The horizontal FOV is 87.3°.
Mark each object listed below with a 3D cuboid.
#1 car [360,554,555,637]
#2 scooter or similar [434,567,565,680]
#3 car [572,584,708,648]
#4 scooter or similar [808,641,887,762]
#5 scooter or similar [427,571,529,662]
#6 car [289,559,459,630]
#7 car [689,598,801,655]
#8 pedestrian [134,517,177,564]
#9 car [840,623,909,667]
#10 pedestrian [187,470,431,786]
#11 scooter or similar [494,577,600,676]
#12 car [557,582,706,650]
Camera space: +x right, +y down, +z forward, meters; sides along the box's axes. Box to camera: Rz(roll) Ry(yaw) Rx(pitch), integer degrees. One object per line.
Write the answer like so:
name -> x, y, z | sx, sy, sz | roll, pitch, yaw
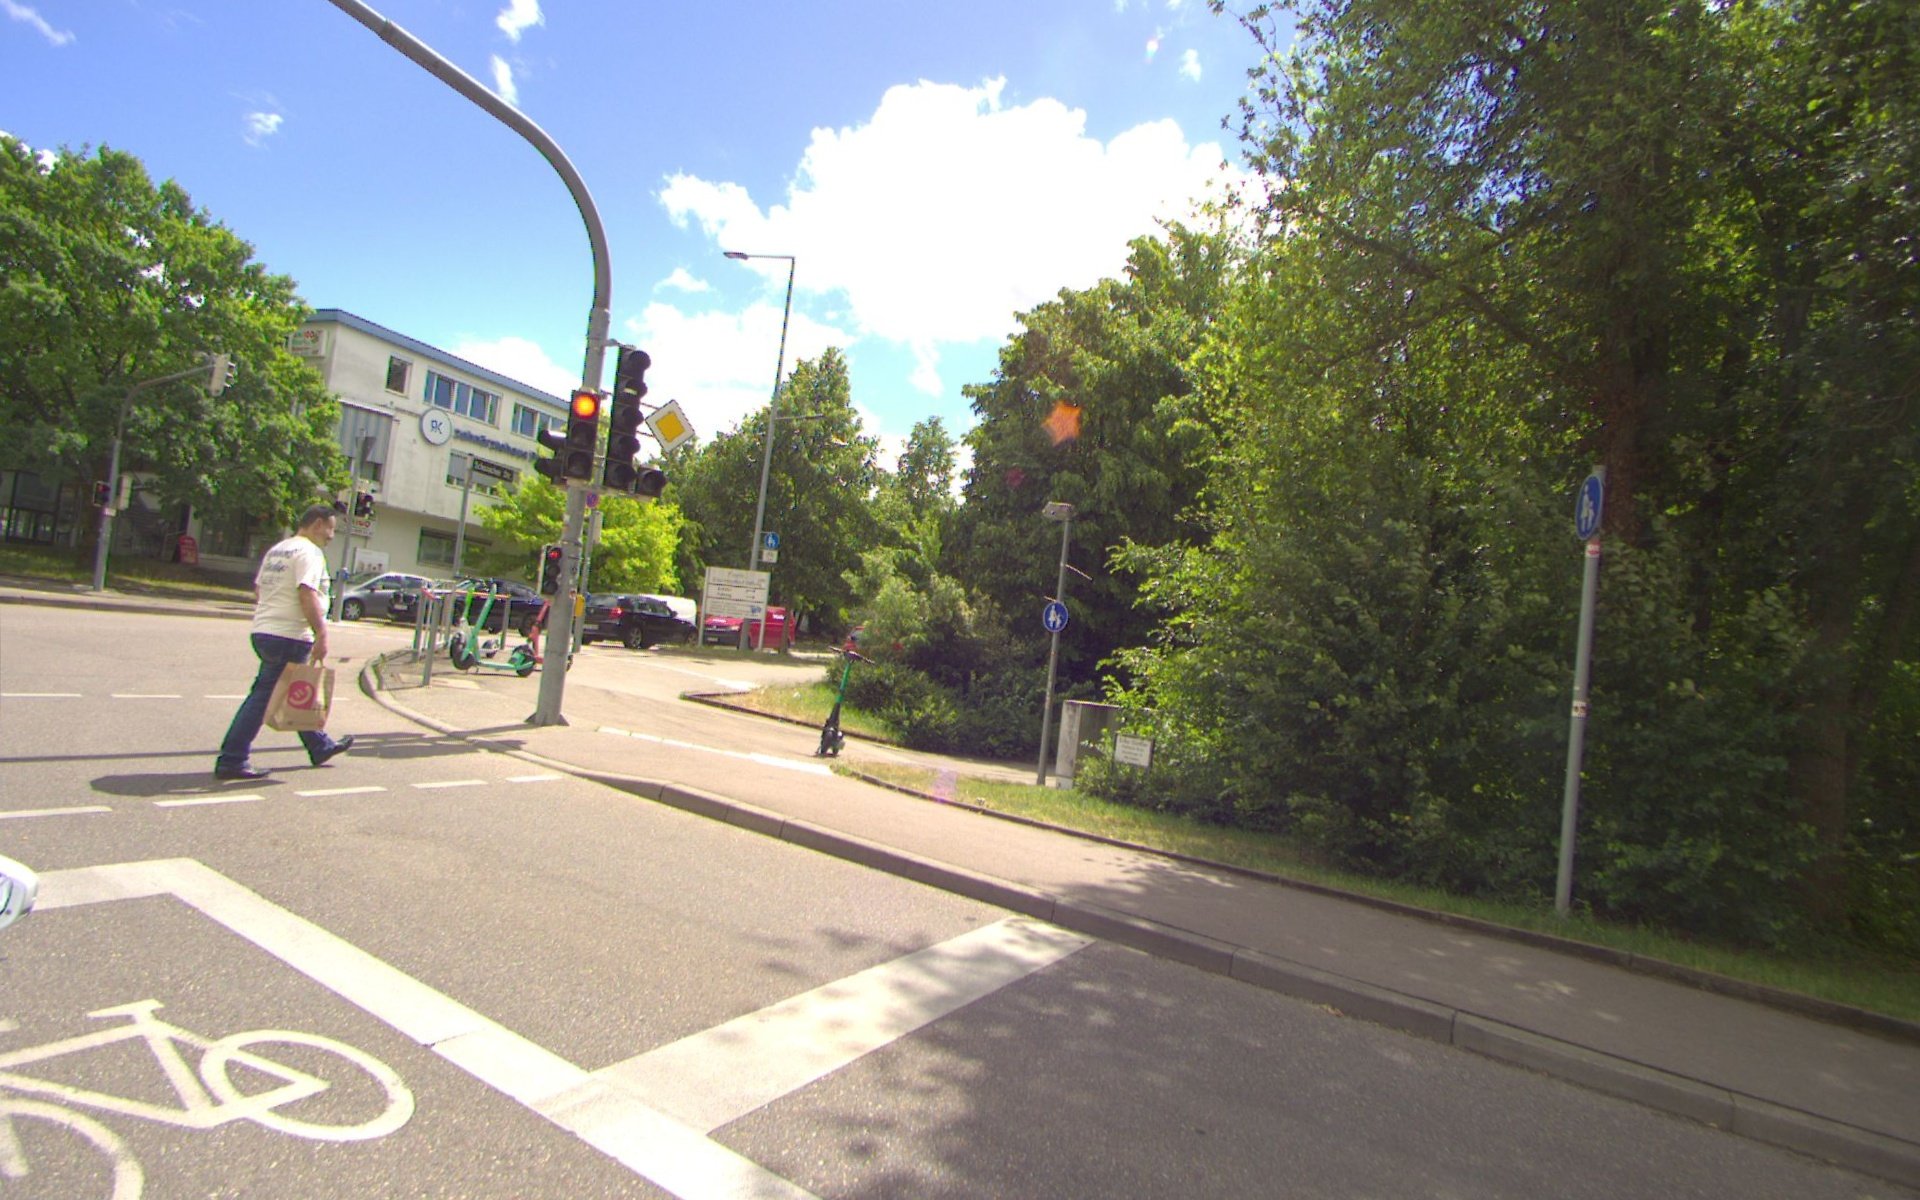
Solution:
car -> -14.080, -0.057, 28.512 | 1.964, 1.737, 4.574 | 7, -2, 25
scooter or similar -> -5.928, 0.325, 13.008 | 0.455, 1.292, 1.344 | 8, -1, 38
car -> -11.213, 0.629, 35.643 | 1.963, 1.737, 4.576 | 7, -2, 22
scooter or similar -> -1.389, 1.241, 12.273 | 0.706, 1.287, 1.243 | 10, -7, -8
scooter or similar -> -6.998, 0.274, 14.668 | 0.533, 1.168, 1.362 | 9, -3, 7
car -> -17.497, -0.121, 30.228 | 1.963, 1.573, 3.923 | 7, -2, 21
car -> -8.705, 1.140, 41.159 | 1.964, 1.885, 4.822 | 5, -3, 22
pedestrian -> -31.689, -2.349, 39.617 | 0.890, 1.662, 0.771 | 7, -1, 18
car -> -3.471, 1.881, 41.252 | 1.518, 1.458, 3.199 | 7, -2, 19
pedestrian -> -4.142, 0.183, 6.441 | 0.729, 1.829, 0.871 | 7, -1, 28
scooter or similar -> -5.983, 0.406, 14.641 | 0.547, 1.254, 1.231 | 8, -3, 23
car -> -8.692, 0.484, 27.019 | 1.725, 1.504, 4.003 | 4, -2, 17
